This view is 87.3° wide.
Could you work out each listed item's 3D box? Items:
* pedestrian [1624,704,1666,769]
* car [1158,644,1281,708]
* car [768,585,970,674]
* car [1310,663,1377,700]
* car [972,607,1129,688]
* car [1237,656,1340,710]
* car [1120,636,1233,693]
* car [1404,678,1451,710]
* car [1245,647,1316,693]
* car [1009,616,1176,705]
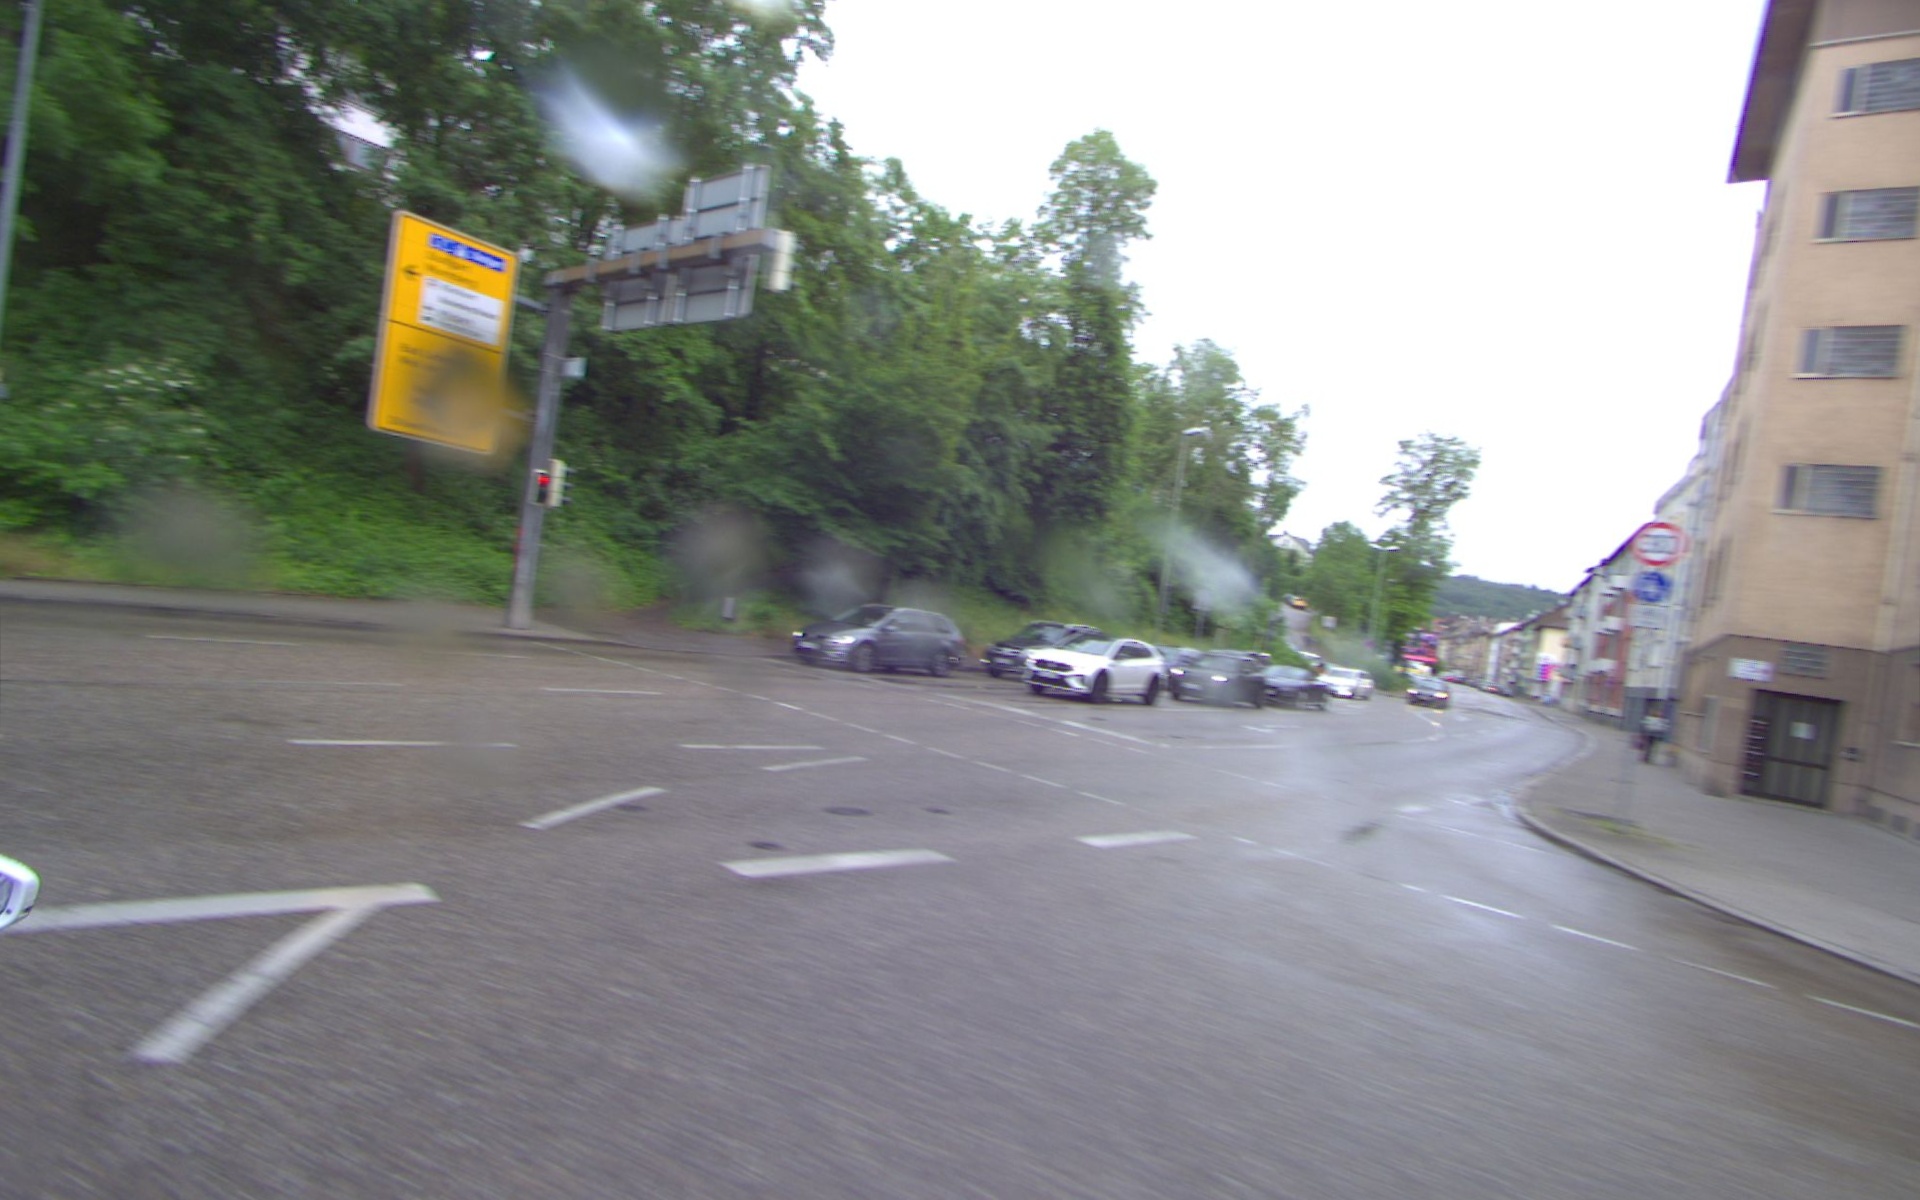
[{"bbox_3d":[20.989,4.178,30.846,0.767,1.824,1.031,9,-1,32],"label":"pedestrian"},{"bbox_3d":[7.420,2.190,28.535,1.782,1.386,4.142,8,-1,38],"label":"car"},{"bbox_3d":[-1.929,0.705,22.492,1.857,1.521,4.318,7,0,41],"label":"car"},{"bbox_3d":[19.316,4.126,50.523,1.987,1.500,4.953,8,-1,33],"label":"car"},{"bbox_3d":[2.566,1.355,27.655,1.801,1.717,4.607,8,0,41],"label":"car"},{"bbox_3d":[10.758,2.732,32.801,1.782,1.386,4.142,8,-1,38],"label":"car"},{"bbox_3d":[7.438,2.228,34.225,1.800,1.499,4.610,8,-1,38],"label":"car"},{"bbox_3d":[25.498,5.108,54.751,1.779,1.386,4.149,8,-1,31],"label":"car"},{"bbox_3d":[14.562,3.197,45.546,1.797,1.717,4.617,8,-1,32],"label":"car"},{"bbox_3d":[3.109,1.424,22.950,1.782,1.580,4.142,8,-1,38],"label":"car"}]
